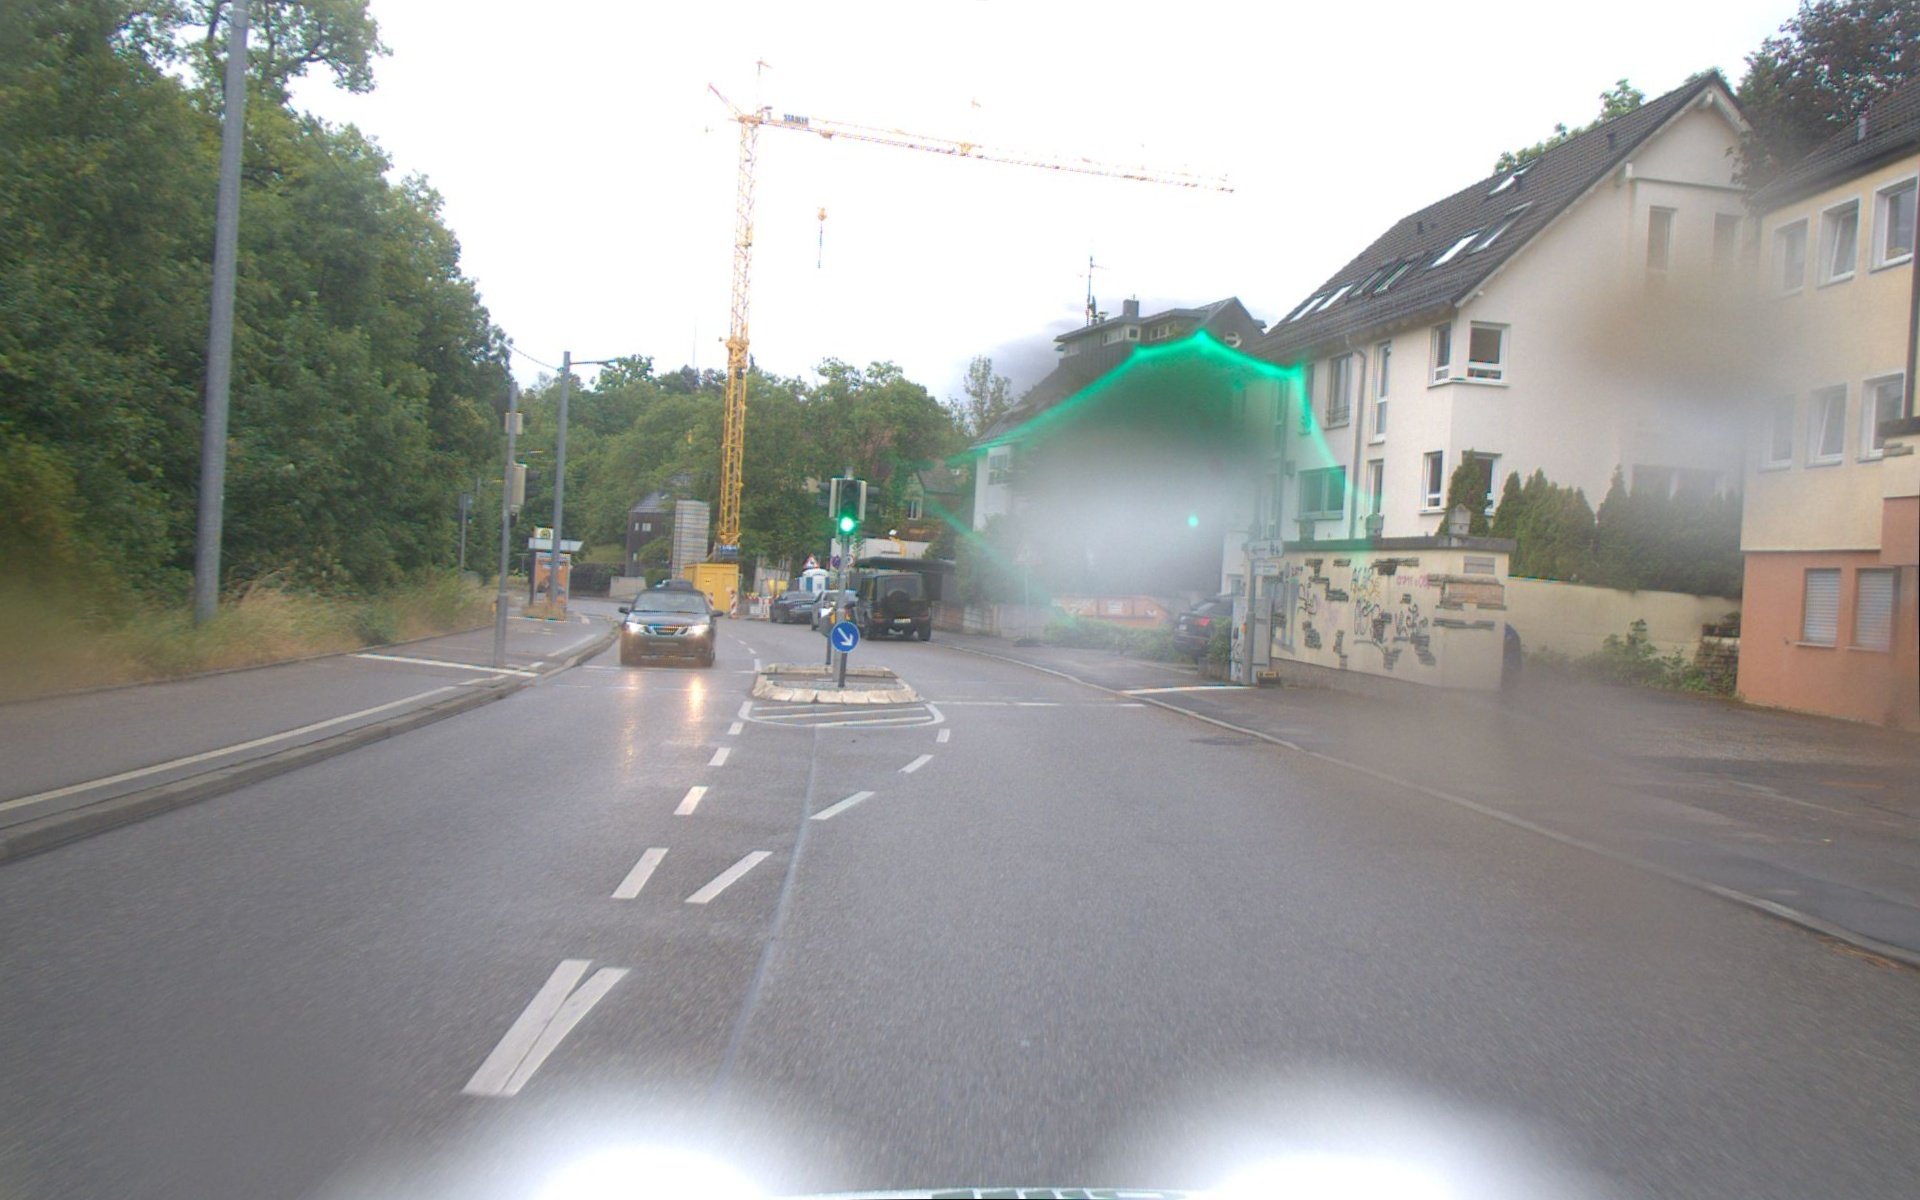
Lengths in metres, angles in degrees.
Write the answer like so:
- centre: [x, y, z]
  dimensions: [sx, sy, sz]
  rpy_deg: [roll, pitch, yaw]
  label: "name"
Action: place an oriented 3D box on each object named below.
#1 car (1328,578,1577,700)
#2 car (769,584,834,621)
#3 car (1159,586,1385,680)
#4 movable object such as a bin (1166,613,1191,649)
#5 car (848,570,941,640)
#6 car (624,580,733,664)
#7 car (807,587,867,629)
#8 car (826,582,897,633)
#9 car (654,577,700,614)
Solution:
- centre: [7.652, 0.568, 26.178]
  dimensions: [1.898, 1.623, 4.330]
  rpy_deg: [5, -1, -11]
  label: "car"
- centre: [-7.123, 0.088, 74.090]
  dimensions: [1.902, 1.447, 4.813]
  rpy_deg: [3, 0, -18]
  label: "car"
- centre: [6.652, 0.702, 35.466]
  dimensions: [4.250, 1.623, 1.987]
  rpy_deg: [5, -1, -11]
  label: "car"
- centre: [5.984, 0.858, 45.281]
  dimensions: [0.498, 0.957, 0.594]
  rpy_deg: [2, 0, -12]
  label: "movable object such as a bin"
- centre: [-2.074, 0.117, 51.063]
  dimensions: [1.959, 2.049, 4.939]
  rpy_deg: [0, 0, -14]
  label: "car"
- centre: [-5.401, 0.403, 32.222]
  dimensions: [1.710, 1.485, 4.409]
  rpy_deg: [2, 0, -5]
  label: "car"
- centre: [-4.503, 0.270, 60.156]
  dimensions: [1.644, 1.483, 3.374]
  rpy_deg: [1, 0, -13]
  label: "car"
- centre: [-3.369, 0.242, 55.953]
  dimensions: [1.897, 1.624, 4.383]
  rpy_deg: [0, 0, -10]
  label: "car"
- centre: [-14.805, -0.268, 86.345]
  dimensions: [1.900, 1.781, 3.983]
  rpy_deg: [3, 0, -16]
  label: "car"
